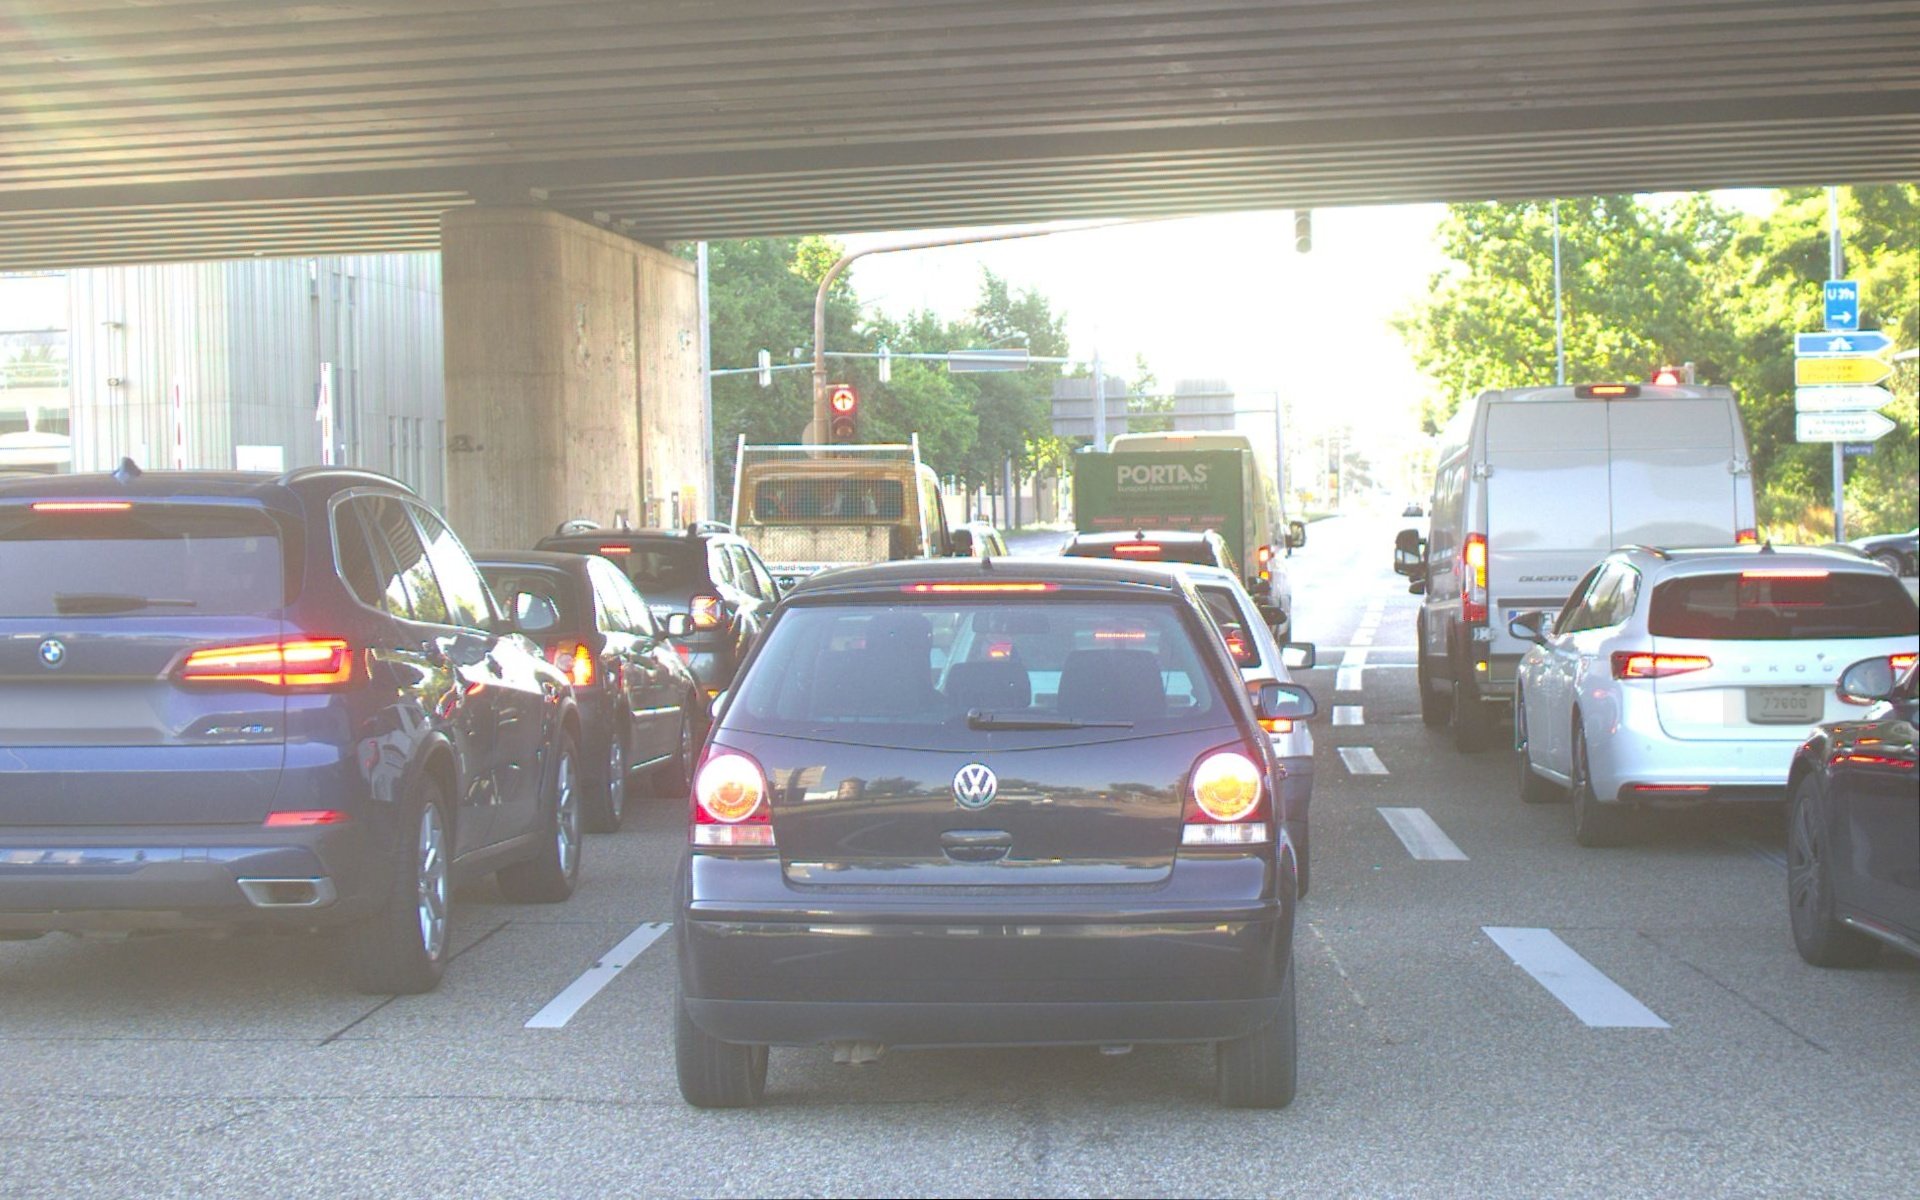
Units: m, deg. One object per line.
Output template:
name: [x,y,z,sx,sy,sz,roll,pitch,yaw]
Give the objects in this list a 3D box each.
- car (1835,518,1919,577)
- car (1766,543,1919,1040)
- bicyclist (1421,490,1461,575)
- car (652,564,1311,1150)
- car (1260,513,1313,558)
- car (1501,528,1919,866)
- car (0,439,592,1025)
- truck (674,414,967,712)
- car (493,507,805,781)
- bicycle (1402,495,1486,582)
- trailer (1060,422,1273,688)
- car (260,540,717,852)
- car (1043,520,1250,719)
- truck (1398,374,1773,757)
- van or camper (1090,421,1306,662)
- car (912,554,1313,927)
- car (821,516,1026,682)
car: [18.126,-1.004,65.213,2.823,1.077,1.218,-1,0,8]
car: [3.733,0.586,10.207,1.740,1.449,4.606,0,2,2]
bicyclist: [11.726,-1.635,83.857,0.828,2.007,0.682,-4,0,7]
car: [0.065,0.619,10.196,1.581,1.404,3.832,0,0,0]
car: [10.277,-2.023,108.386,1.339,1.277,2.893,-4,0,1]
car: [3.847,0.433,17.550,1.773,1.490,3.831,-2,0,4]
car: [-2.589,0.397,12.525,1.829,1.732,4.461,-1,0,2]
truck: [-1.208,-0.330,32.522,2.028,2.548,5.536,-1,0,5]
car: [-2.170,0.291,25.015,1.841,1.713,4.000,-4,0,-1]
bicycle: [11.800,-1.496,83.851,1.878,2.007,0.570,-4,0,8]
trailer: [2.128,-0.434,34.508,1.864,2.456,3.831,-2,0,6]
car: [-2.483,0.471,18.994,1.841,1.435,3.675,-4,0,2]
car: [1.585,0.149,28.387,1.582,1.527,3.831,0,0,5]
truck: [4.509,-0.247,25.455,2.111,2.511,4.400,-2,0,3]
van or camper: [2.847,-0.636,39.899,1.994,2.562,5.916,-1,0,9]
car: [0.704,0.539,15.346,1.547,1.418,3.417,-2,1,3]
car: [-0.390,-0.018,41.926,1.994,1.894,3.999,-1,0,6]
